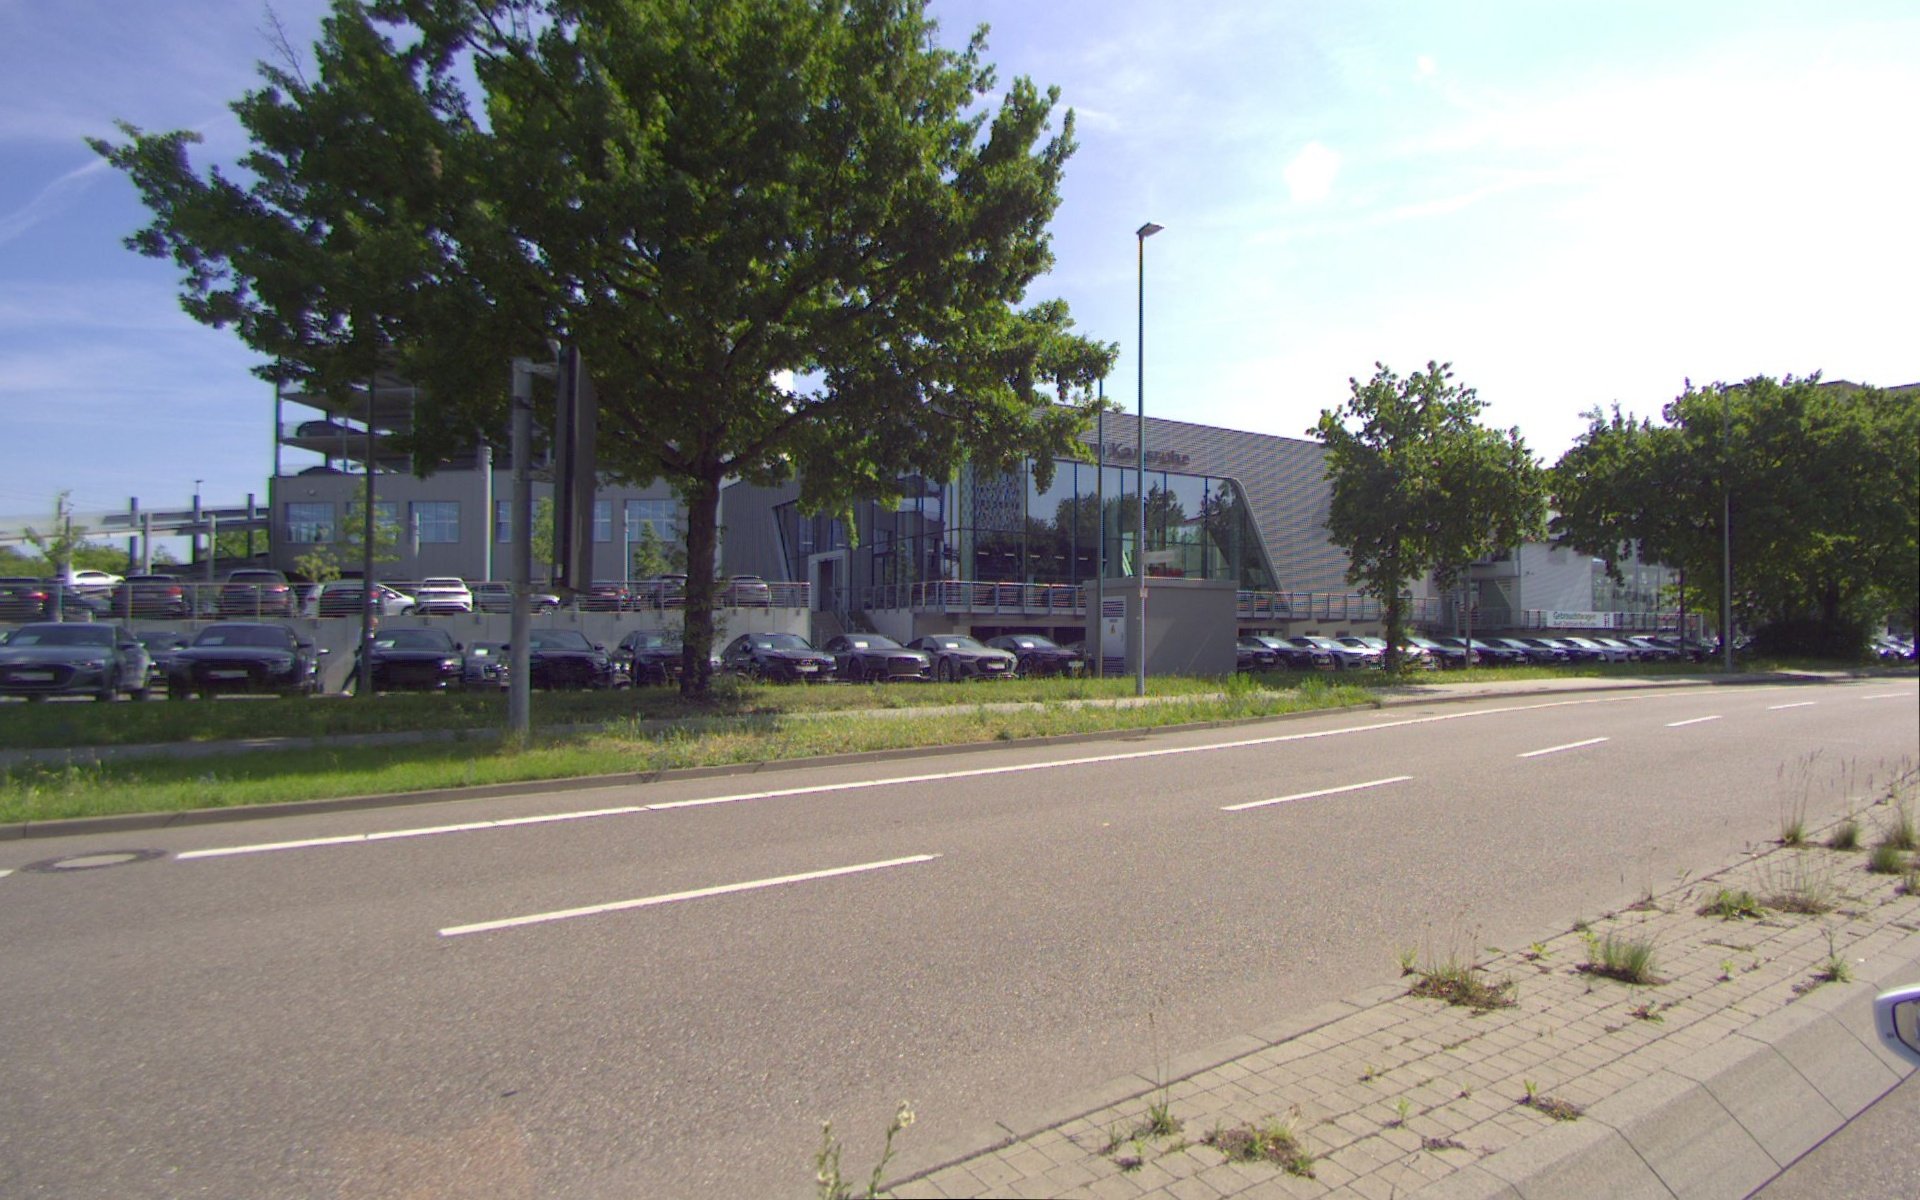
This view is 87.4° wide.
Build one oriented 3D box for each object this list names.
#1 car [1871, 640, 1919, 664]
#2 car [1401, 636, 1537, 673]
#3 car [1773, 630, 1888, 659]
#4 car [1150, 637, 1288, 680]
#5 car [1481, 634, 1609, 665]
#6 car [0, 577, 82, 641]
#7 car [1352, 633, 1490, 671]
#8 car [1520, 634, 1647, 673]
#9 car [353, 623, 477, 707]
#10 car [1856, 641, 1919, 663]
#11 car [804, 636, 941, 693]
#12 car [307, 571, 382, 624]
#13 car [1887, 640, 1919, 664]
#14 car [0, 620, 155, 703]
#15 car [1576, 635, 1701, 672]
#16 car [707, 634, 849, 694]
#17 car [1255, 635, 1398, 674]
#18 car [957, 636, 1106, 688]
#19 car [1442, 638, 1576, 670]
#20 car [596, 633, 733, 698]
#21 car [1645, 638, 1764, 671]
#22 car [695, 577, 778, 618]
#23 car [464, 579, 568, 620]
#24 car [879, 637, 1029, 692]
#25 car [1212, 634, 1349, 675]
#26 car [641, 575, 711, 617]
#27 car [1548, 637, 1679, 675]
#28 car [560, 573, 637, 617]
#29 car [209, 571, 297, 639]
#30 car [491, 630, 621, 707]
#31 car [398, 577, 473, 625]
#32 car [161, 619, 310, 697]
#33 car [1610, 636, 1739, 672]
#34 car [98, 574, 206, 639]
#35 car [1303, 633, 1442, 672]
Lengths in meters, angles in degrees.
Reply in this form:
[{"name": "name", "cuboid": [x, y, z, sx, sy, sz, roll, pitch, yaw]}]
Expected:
[{"name": "car", "cuboid": [56.569, 3.011, 59.149, 1.824, 1.350, 3.863, 0, -5, -26]}, {"name": "car", "cuboid": [19.083, 2.073, 37.819, 1.933, 1.205, 4.153, 1, -5, -32]}, {"name": "car", "cuboid": [46.455, 2.389, 53.719, 2.011, 1.348, 4.155, 0, -5, -26]}, {"name": "car", "cuboid": [7.984, 1.853, 31.291, 1.876, 1.171, 3.968, 1, -5, -32]}, {"name": "car", "cuboid": [23.405, 1.998, 40.335, 1.678, 1.047, 4.088, 1, -5, -32]}, {"name": "car", "cuboid": [-26.979, 0.311, 29.075, 1.646, 1.727, 4.246, 1, -2, -32]}, {"name": "car", "cuboid": [16.651, 1.902, 36.447, 1.933, 1.205, 4.153, 1, -5, -32]}, {"name": "car", "cuboid": [25.744, 2.237, 41.587, 1.976, 1.460, 3.972, 1, -5, -29]}, {"name": "car", "cuboid": [-11.146, 1.242, 20.375, 1.958, 1.495, 4.476, 1, -2, -32]}, {"name": "car", "cuboid": [54.338, 2.973, 57.668, 1.886, 1.181, 3.863, 0, -5, -26]}, {"name": "car", "cuboid": [-2.323, 1.571, 25.573, 1.673, 1.307, 4.476, 1, -2, -32]}, {"name": "car", "cuboid": [-20.376, -0.013, 33.279, 1.958, 1.571, 4.476, 1, -2, -32]}, {"name": "car", "cuboid": [58.797, 3.072, 60.578, 1.726, 1.382, 3.863, 0, -5, -26]}, {"name": "car", "cuboid": [-15.550, 1.068, 17.550, 1.844, 1.302, 3.576, 1, -4, -32]}, {"name": "car", "cuboid": [30.028, 2.404, 44.571, 1.976, 1.460, 4.123, 1, -5, -29]}, {"name": "car", "cuboid": [-4.506, 1.473, 24.321, 1.898, 1.307, 4.476, 1, -2, -32]}, {"name": "car", "cuboid": [12.318, 1.864, 34.008, 2.064, 1.171, 4.153, 1, -5, -32]}, {"name": "car", "cuboid": [1.893, 1.675, 28.015, 1.898, 1.307, 4.476, 1, -2, -32]}, {"name": "car", "cuboid": [21.346, 2.140, 39.211, 1.933, 1.091, 4.153, 1, -5, -32]}, {"name": "car", "cuboid": [-6.859, 1.423, 22.993, 1.898, 1.307, 4.476, 1, -2, -32]}, {"name": "car", "cuboid": [34.792, 2.576, 47.065, 1.976, 1.376, 3.972, 1, -5, -29]}, {"name": "car", "cuboid": [-8.956, -0.080, 39.976, 1.963, 1.515, 4.498, 1, 0, -30]}, {"name": "car", "cuboid": [-18.357, 0.012, 41.527, 3.745, 1.594, 1.941, 1, 0, -31]}, {"name": "car", "cuboid": [-0.261, 1.645, 26.776, 1.982, 1.307, 4.476, 1, -2, -32]}, {"name": "car", "cuboid": [10.347, 1.811, 32.667, 1.876, 1.171, 3.968, 1, -5, -32]}, {"name": "car", "cuboid": [-10.983, -0.130, 38.691, 1.648, 1.515, 3.968, 1, 0, -30]}, {"name": "car", "cuboid": [27.917, 2.439, 43.049, 1.976, 1.460, 4.232, 1, -5, -29]}, {"name": "car", "cuboid": [-13.503, -0.185, 37.370, 2.028, 1.515, 3.968, 1, 0, -30]}, {"name": "car", "cuboid": [-22.374, 0.235, 31.928, 1.958, 1.988, 4.476, 1, -2, -32]}, {"name": "car", "cuboid": [-8.863, 1.404, 21.803, 1.898, 1.495, 4.476, 1, -2, -32]}, {"name": "car", "cuboid": [-18.131, 0.082, 34.635, 1.958, 1.504, 4.476, 1, -2, -32]}, {"name": "car", "cuboid": [-13.363, 1.078, 18.741, 1.963, 1.302, 3.661, 1, -4, -32]}, {"name": "car", "cuboid": [32.511, 2.480, 45.831, 2.027, 1.460, 4.286, 1, -6, -30]}, {"name": "car", "cuboid": [-24.515, 0.261, 30.639, 1.958, 1.839, 4.476, 1, -2, -32]}, {"name": "car", "cuboid": [14.402, 1.881, 35.306, 1.933, 1.205, 4.153, 1, -5, -32]}]
